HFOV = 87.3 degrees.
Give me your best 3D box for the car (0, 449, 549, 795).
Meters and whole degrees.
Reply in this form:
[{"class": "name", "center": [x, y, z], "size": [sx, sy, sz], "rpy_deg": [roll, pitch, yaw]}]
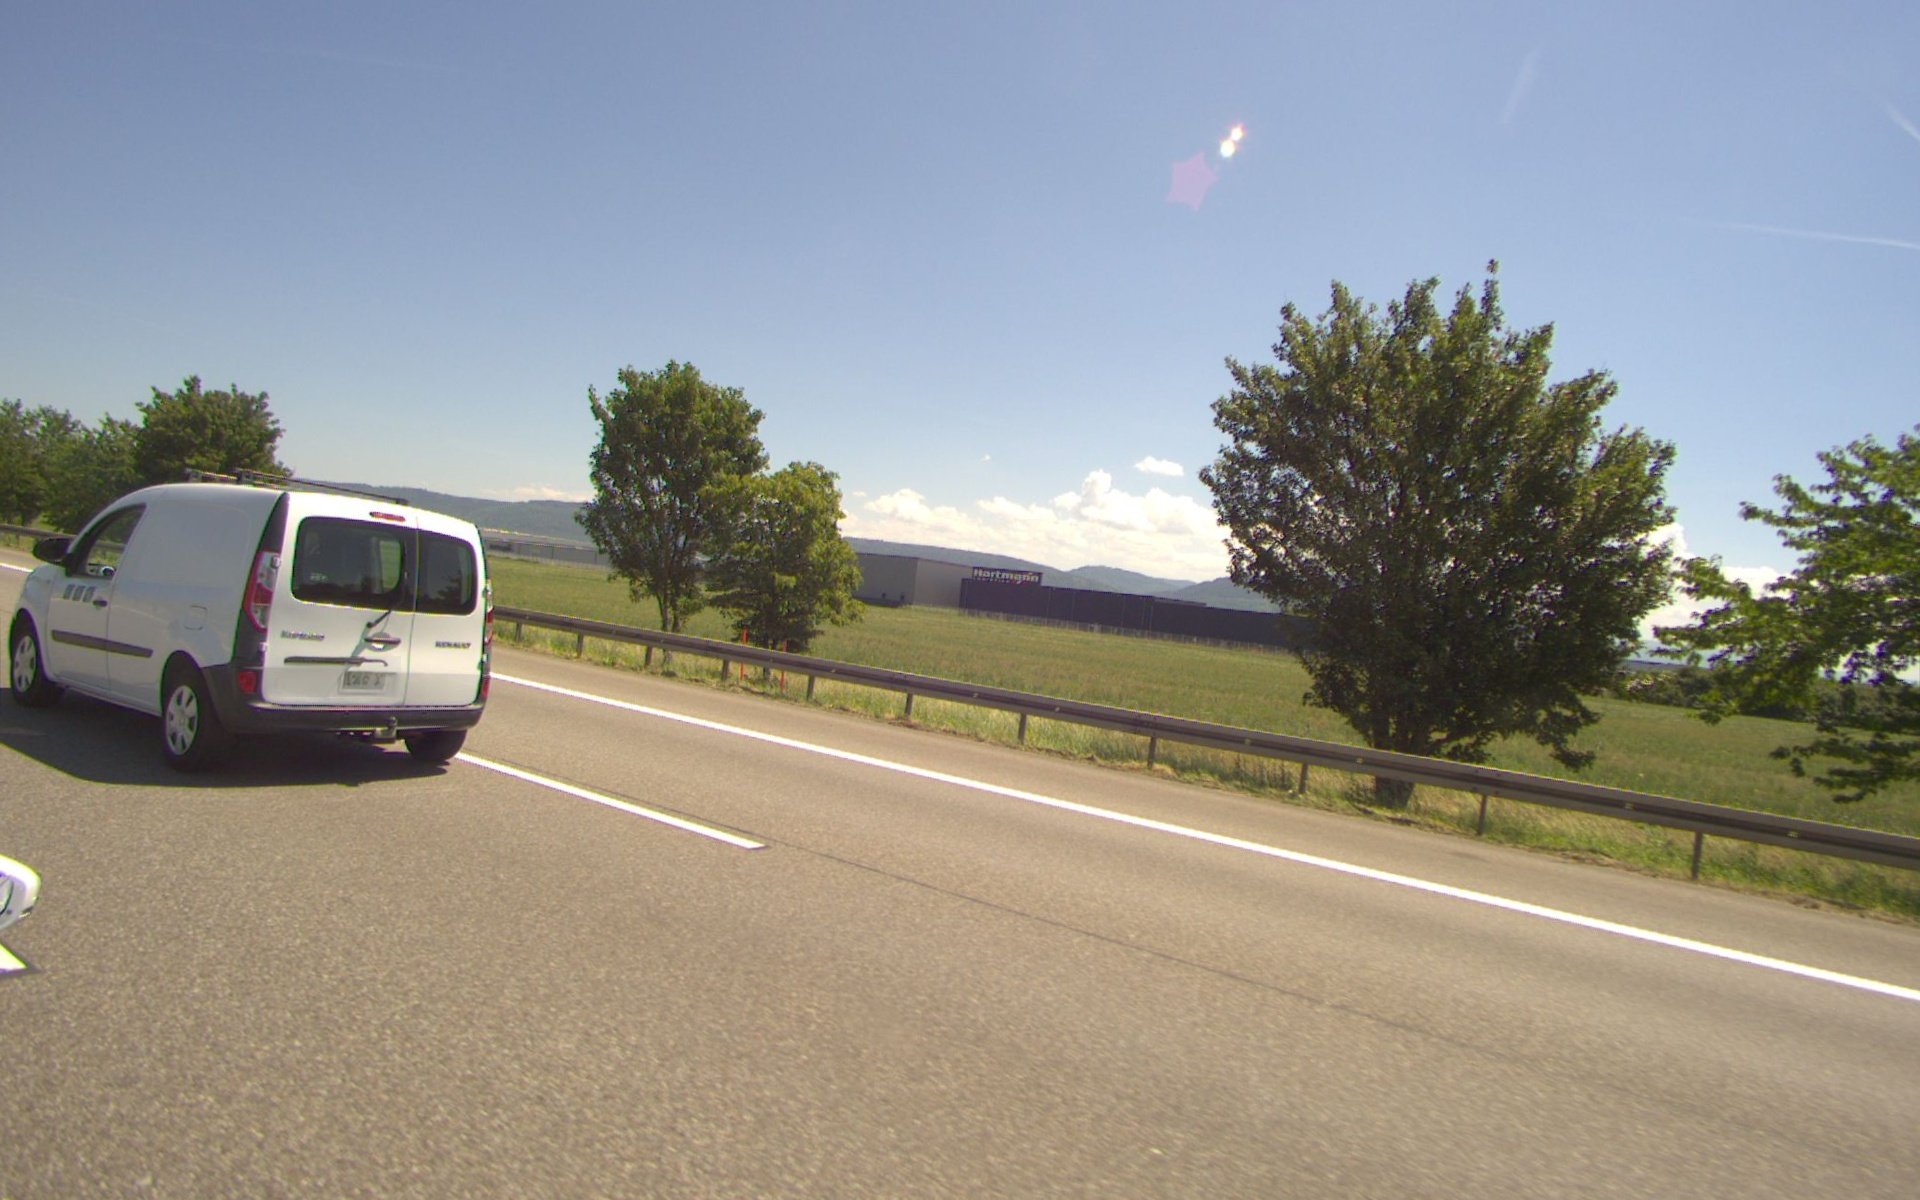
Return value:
[{"class": "car", "center": [-5.536, 0.032, 7.674], "size": [4.623, 1.884, 1.857], "rpy_deg": [7, -2, 30]}]
